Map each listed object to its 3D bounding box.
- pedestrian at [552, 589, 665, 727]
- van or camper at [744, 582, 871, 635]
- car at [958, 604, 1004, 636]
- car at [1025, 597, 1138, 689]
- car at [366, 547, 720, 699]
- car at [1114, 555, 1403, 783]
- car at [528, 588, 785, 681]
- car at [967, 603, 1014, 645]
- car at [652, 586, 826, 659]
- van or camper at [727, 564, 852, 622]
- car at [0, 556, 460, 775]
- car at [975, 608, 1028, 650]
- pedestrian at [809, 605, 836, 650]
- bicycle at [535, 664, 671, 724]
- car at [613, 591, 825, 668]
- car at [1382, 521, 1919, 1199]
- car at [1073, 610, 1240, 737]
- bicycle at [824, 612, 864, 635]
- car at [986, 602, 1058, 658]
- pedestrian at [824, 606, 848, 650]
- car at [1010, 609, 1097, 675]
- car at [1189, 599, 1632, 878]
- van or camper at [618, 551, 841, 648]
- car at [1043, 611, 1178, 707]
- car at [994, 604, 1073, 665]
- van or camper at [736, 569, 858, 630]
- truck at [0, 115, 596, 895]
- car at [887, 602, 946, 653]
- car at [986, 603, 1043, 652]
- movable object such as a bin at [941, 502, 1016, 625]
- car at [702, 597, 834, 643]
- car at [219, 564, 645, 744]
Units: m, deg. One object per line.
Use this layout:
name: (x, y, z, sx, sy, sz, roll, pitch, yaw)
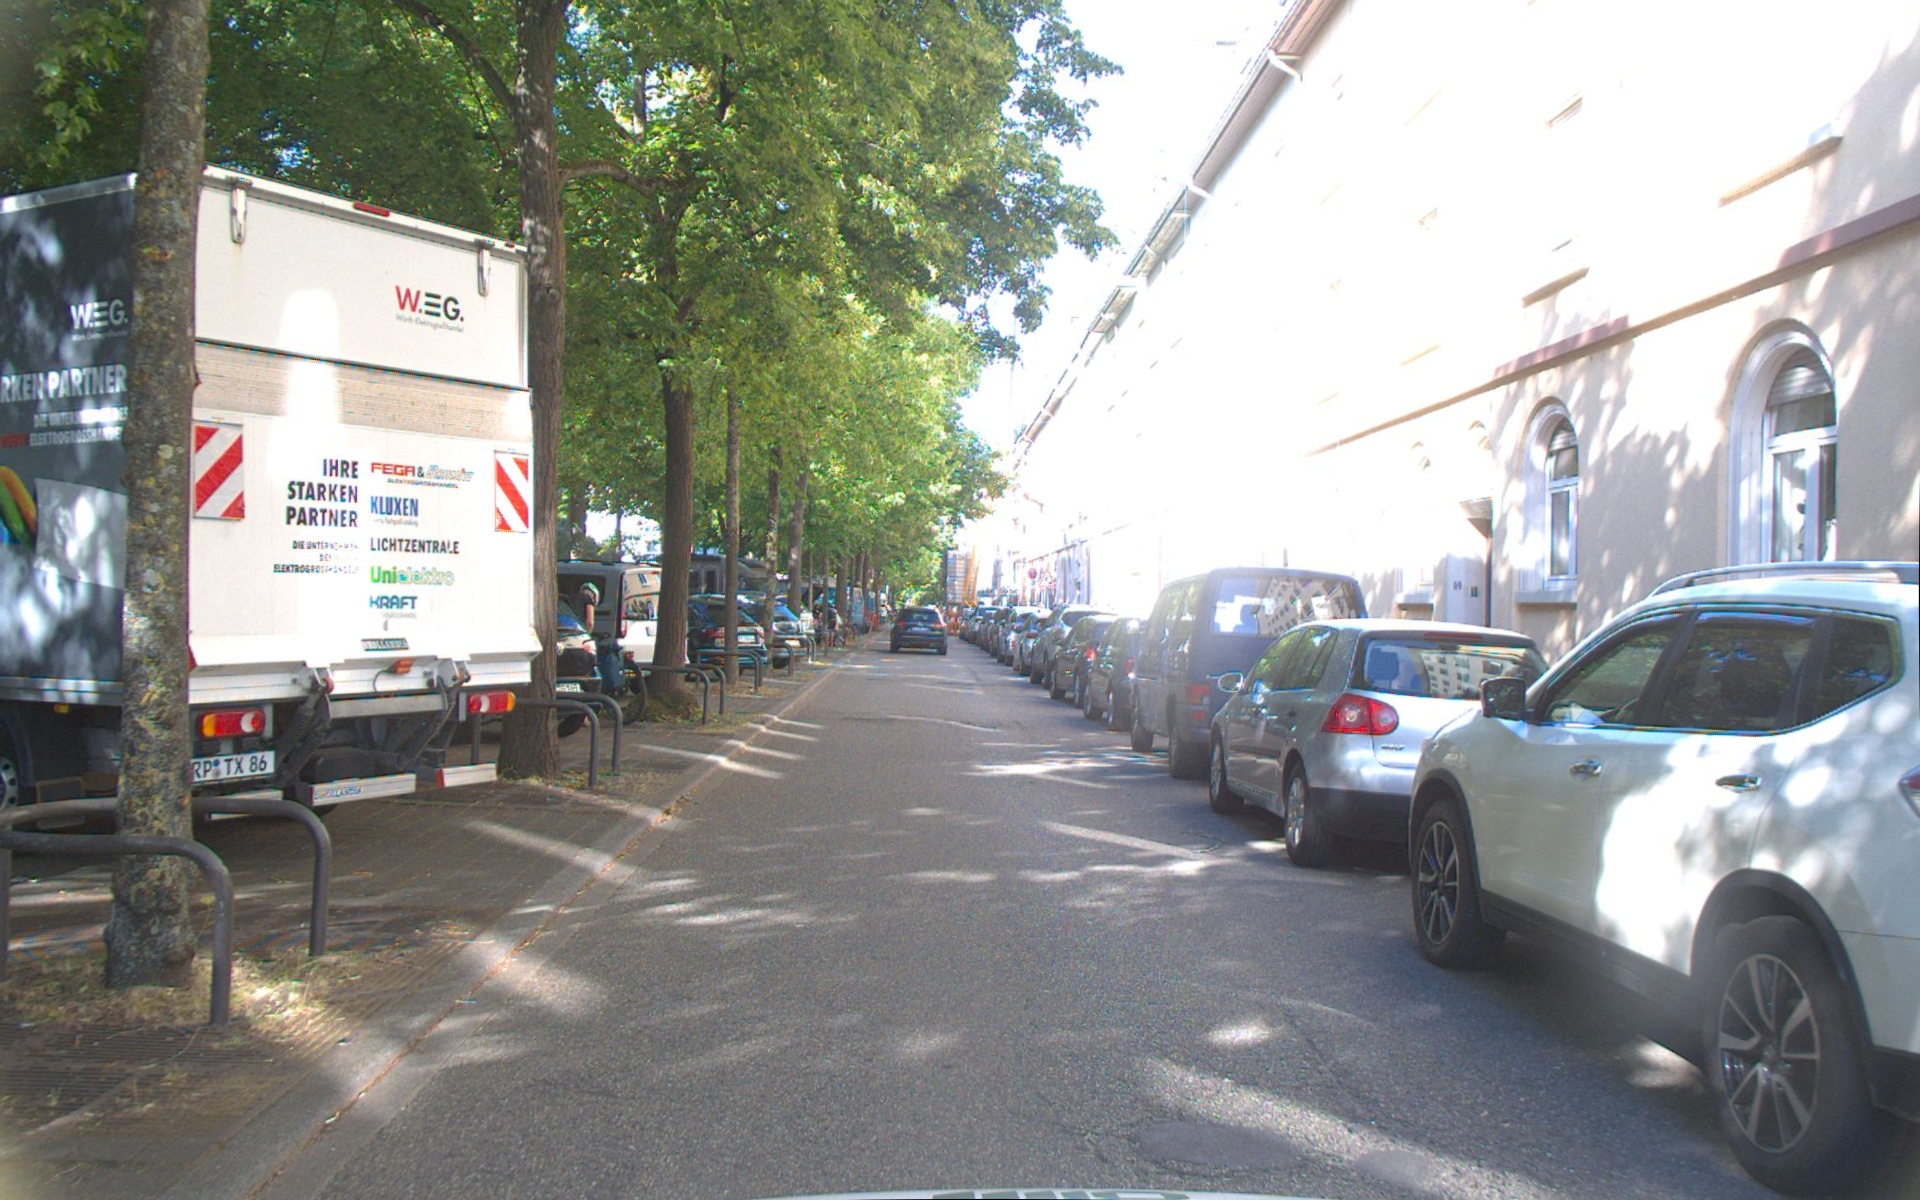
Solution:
pedestrian: (-3.749, 0.602, 17.693, 0.737, 1.421, 0.927, 1, 0, 30)
van or camper: (-7.019, 0.366, 76.013, 5.386, 2.315, 2.220, 1, 0, 22)
car: (1.003, 0.962, 80.522, 1.954, 1.434, 4.498, 2, 0, -3)
car: (2.401, 0.815, 33.573, 1.688, 1.715, 4.154, 1, 0, -4)
car: (-5.825, 0.281, 23.139, 4.418, 1.897, 2.080, 2, 0, 23)
car: (2.806, 0.601, 16.710, 1.909, 1.934, 4.844, 1, 0, -1)
car: (-5.440, 0.582, 29.495, 4.392, 1.481, 1.784, 1, 0, 30)
car: (1.266, 1.020, 71.263, 1.780, 1.703, 4.672, 1, 0, -2)
car: (-5.590, 0.549, 41.724, 4.054, 1.709, 1.757, 1, 0, 27)
van or camper: (-8.279, -0.353, 80.226, 5.755, 2.683, 2.252, 1, 0, 28)
car: (-6.228, 0.457, 13.605, 3.913, 1.529, 1.845, 2, 0, 30)
car: (1.492, 1.035, 60.426, 1.598, 1.437, 4.086, 1, 0, -3)
pedestrian: (-4.576, 0.904, 55.153, 0.695, 1.481, 0.596, 1, -1, 21)
bicycle: (-3.917, 1.021, 18.107, 1.579, 0.568, 0.409, 1, 0, 30)
car: (-5.164, 0.621, 35.275, 4.328, 1.487, 1.712, 1, -1, 31)
car: (3.044, 0.721, 5.780, 1.727, 1.784, 4.507, 1, 0, -3)
car: (2.565, 0.930, 22.338, 1.589, 1.524, 3.592, 1, 0, -4)
bicycle: (-5.082, 1.029, 72.392, 1.702, 1.023, 0.506, 1, -1, -32)
car: (1.854, 0.883, 50.794, 1.689, 1.624, 4.154, 1, 0, -5)
pedestrian: (-4.178, 0.933, 55.642, 0.602, 1.481, 0.519, 1, -1, 21)
car: (2.192, 0.967, 39.723, 1.688, 1.457, 4.156, 1, 0, -2)
car: (2.817, 0.781, 11.362, 1.726, 1.526, 4.236, 1, 0, -2)
van or camper: (-7.521, -0.047, 53.734, 7.083, 2.981, 2.312, 1, 0, 25)
car: (2.414, 0.918, 27.366, 1.519, 1.418, 3.856, 1, 0, -5)
car: (1.966, 0.916, 45.327, 1.688, 1.555, 4.155, 1, 0, -4)
van or camper: (-9.211, -0.050, 93.302, 6.527, 3.297, 2.493, 1, 0, 27)
truck: (-5.794, -0.442, 10.001, 7.165, 3.351, 2.542, 1, 0, 30)
car: (-1.398, 0.843, 52.321, 1.761, 1.530, 3.583, 1, 0, -3)
car: (1.810, 0.917, 56.035, 1.598, 1.561, 3.590, 1, 0, -3)
movable object such as a bin: (1.077, -2.087, 94.452, 3.415, 6.878, 2.363, 1, -1, 31)
car: (-6.561, 0.665, 56.417, 4.230, 1.449, 1.674, 1, 0, 25)
car: (-5.245, 0.467, 16.340, 4.018, 1.532, 1.730, 2, 0, 30)
